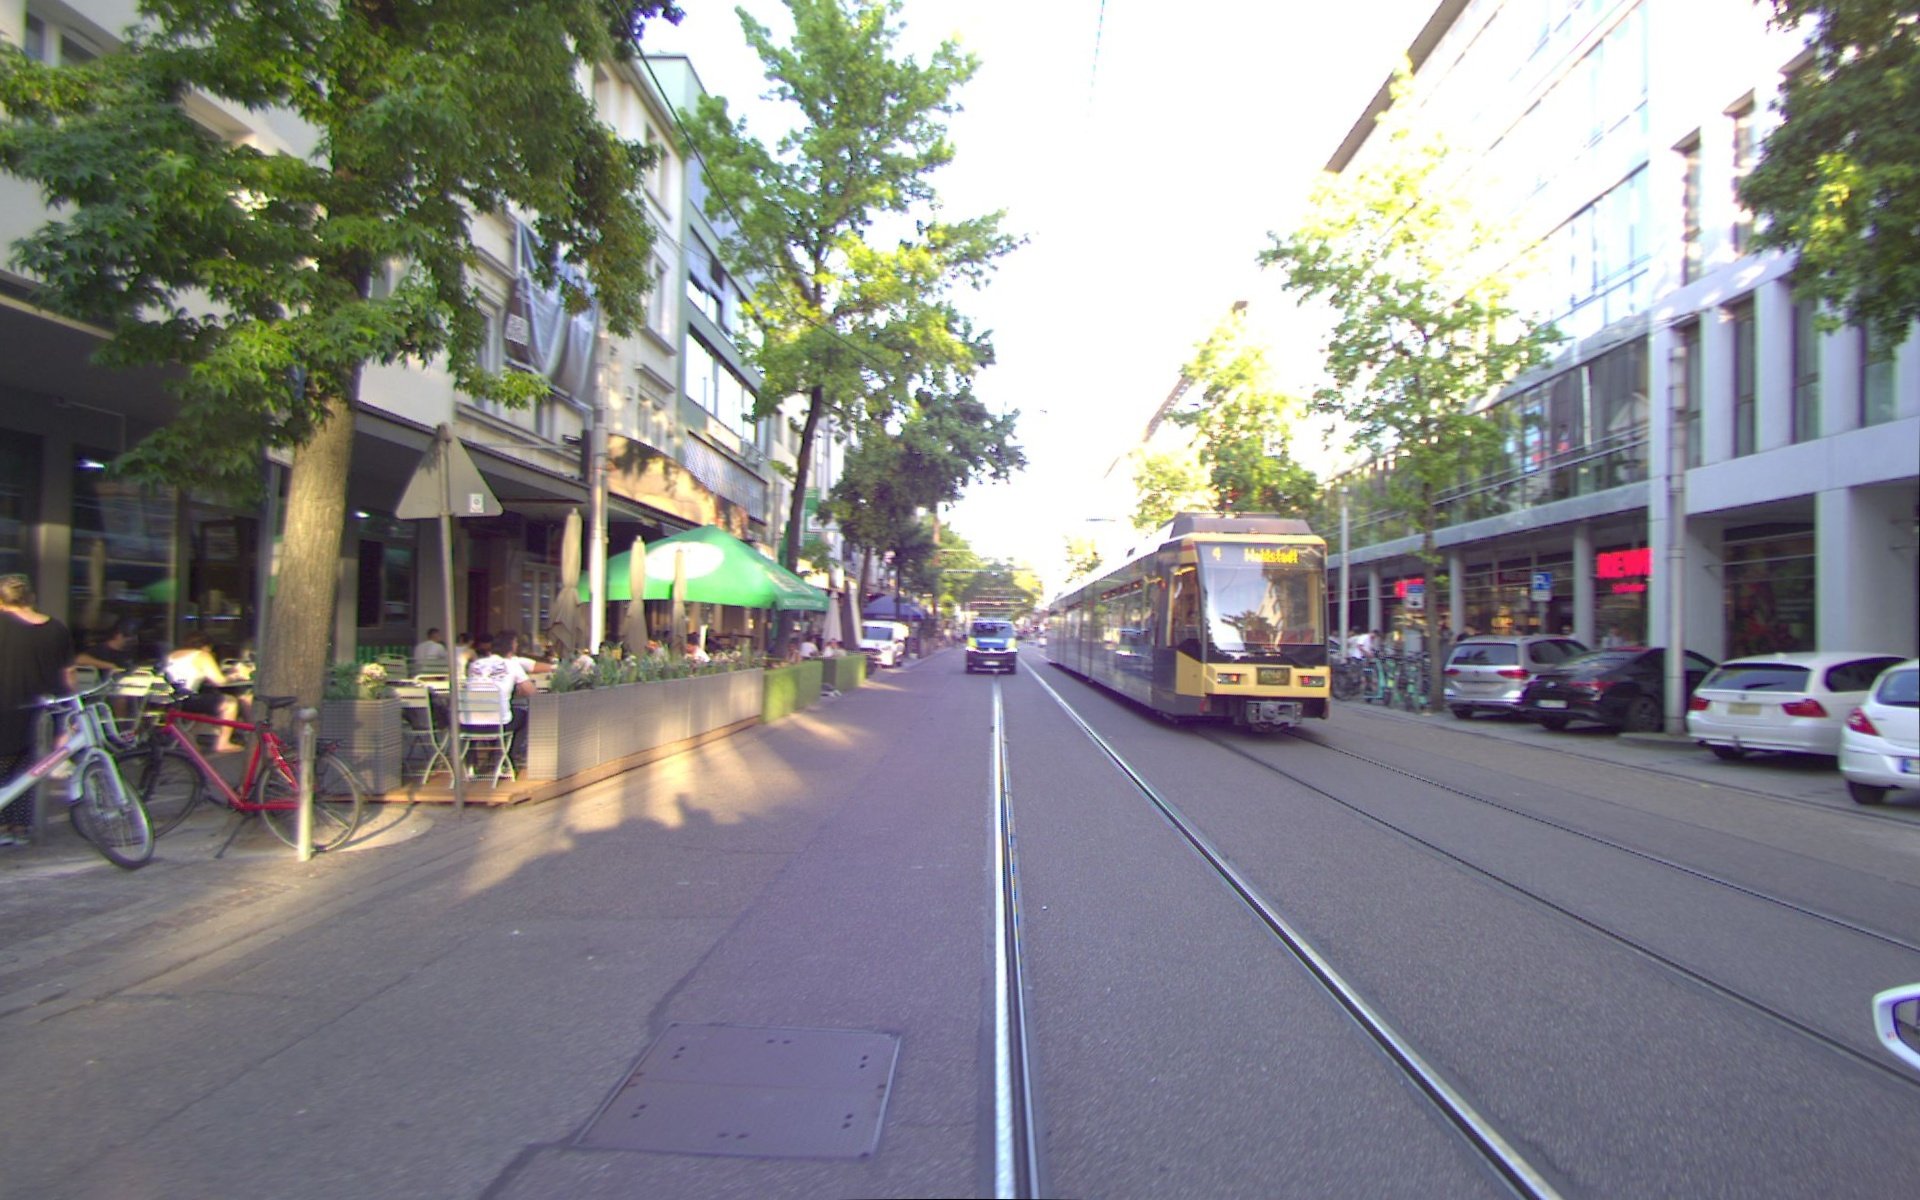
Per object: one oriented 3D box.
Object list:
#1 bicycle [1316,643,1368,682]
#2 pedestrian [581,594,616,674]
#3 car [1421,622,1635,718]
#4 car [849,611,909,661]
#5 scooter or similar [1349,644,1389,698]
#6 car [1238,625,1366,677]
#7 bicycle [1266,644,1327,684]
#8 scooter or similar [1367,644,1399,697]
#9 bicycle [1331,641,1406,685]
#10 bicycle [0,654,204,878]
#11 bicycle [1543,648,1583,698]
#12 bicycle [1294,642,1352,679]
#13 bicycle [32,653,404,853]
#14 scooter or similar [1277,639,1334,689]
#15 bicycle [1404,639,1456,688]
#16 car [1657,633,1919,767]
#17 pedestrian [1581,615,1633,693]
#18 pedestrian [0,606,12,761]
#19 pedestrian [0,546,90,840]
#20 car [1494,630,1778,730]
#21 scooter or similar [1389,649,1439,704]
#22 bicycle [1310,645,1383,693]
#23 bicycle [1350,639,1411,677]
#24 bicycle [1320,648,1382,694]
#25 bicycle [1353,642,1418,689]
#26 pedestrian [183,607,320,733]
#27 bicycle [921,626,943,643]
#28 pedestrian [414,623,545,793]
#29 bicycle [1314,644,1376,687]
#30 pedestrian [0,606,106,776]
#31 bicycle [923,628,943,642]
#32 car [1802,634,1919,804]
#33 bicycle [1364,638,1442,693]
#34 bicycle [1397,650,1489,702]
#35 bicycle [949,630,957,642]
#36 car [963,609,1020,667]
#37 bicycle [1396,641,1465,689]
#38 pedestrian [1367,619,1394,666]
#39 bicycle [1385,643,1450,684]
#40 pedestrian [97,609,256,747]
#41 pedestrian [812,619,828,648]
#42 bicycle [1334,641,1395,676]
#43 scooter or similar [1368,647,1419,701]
[{"bbox_3d":[11.756,1.915,30.903,1.577,1.047,0.549,-3,0,-29],"label":"bicycle"},{"bbox_3d":[-8.238,0.782,22.899,0.646,1.788,0.763,2,-2,-17],"label":"pedestrian"},{"bbox_3d":[11.613,1.337,20.449,4.627,1.661,1.937,0,-2,-34],"label":"car"},{"bbox_3d":[-3.240,1.499,41.109,1.764,1.842,4.518,3,-2,3],"label":"car"},{"bbox_3d":[9.867,1.695,24.243,0.474,1.238,1.215,-1,-2,2],"label":"scooter or similar"},{"bbox_3d":[11.861,1.742,34.824,4.294,1.583,1.862,-1,-2,-32],"label":"car"},{"bbox_3d":[10.074,1.911,30.093,1.729,1.132,0.800,0,-1,-31],"label":"bicycle"},{"bbox_3d":[10.313,1.706,24.518,0.558,1.221,1.282,-1,-1,16],"label":"scooter or similar"},{"bbox_3d":[11.611,1.776,28.573,1.968,1.164,0.696,-1,0,-17],"label":"bicycle"},{"bbox_3d":[-5.421,0.882,5.529,1.842,1.154,0.775,3,-2,-27],"label":"bicycle"},{"bbox_3d":[14.398,1.714,24.011,0.563,1.097,1.882,-1,-2,24],"label":"bicycle"},{"bbox_3d":[11.876,1.964,32.858,1.731,1.132,0.910,0,-2,-33],"label":"bicycle"},{"bbox_3d":[-4.656,0.944,6.391,1.830,1.154,0.627,2,-2,-1],"label":"bicycle"},{"bbox_3d":[9.689,1.787,28.218,0.690,1.321,1.379,0,-1,-37],"label":"scooter or similar"},{"bbox_3d":[12.715,1.701,27.156,1.679,1.205,0.549,-1,0,-37],"label":"bicycle"},{"bbox_3d":[11.730,1.234,13.441,4.284,1.441,1.821,-1,-1,-20],"label":"car"},{"bbox_3d":[15.342,1.268,23.838,0.668,1.795,0.805,1,0,1],"label":"pedestrian"},{"bbox_3d":[-8.614,0.701,8.332,0.611,1.337,0.842,1,-2,5],"label":"pedestrian"},{"bbox_3d":[-6.000,0.562,6.270,0.775,1.764,0.634,3,-3,-41],"label":"pedestrian"},{"bbox_3d":[11.749,1.329,17.485,4.284,1.441,1.947,-1,-2,-21],"label":"car"},{"bbox_3d":[10.207,1.701,22.567,0.572,1.165,1.392,-1,-1,45],"label":"scooter or similar"},{"bbox_3d":[10.164,1.789,26.378,1.969,1.145,0.675,-1,0,-29],"label":"bicycle"},{"bbox_3d":[13.271,1.821,31.688,1.769,1.132,0.838,0,-1,-28],"label":"bicycle"},{"bbox_3d":[10.120,1.827,25.967,1.727,1.090,0.490,-1,-1,-29],"label":"bicycle"},{"bbox_3d":[11.302,1.723,26.683,1.660,1.154,0.476,-1,0,-19],"label":"bicycle"},{"bbox_3d":[-7.945,0.774,11.306,0.833,1.337,0.882,1,-2,6],"label":"pedestrian"},{"bbox_3d":[-2.445,3.013,87.887,1.771,1.377,0.659,4,-2,-11],"label":"bicycle"},{"bbox_3d":[-4.174,0.912,8.781,0.681,1.395,0.793,1,-2,4],"label":"pedestrian"},{"bbox_3d":[10.748,1.819,28.047,1.812,1.090,0.619,-2,0,-31],"label":"bicycle"},{"bbox_3d":[-7.950,0.728,8.353,0.870,1.337,0.882,1,-2,5],"label":"pedestrian"},{"bbox_3d":[-2.471,3.236,92.067,1.705,1.140,0.563,4,-2,-2],"label":"bicycle"},{"bbox_3d":[10.662,1.106,10.228,4.016,1.521,1.784,-1,-2,-28],"label":"car"},{"bbox_3d":[11.191,1.640,25.379,1.803,1.291,0.679,-1,0,-17],"label":"bicycle"},{"bbox_3d":[11.183,1.731,23.306,0.624,1.090,1.862,-1,-1,-34],"label":"bicycle"},{"bbox_3d":[-0.688,3.506,98.063,0.602,1.140,2.251,4,-2,-4],"label":"bicycle"},{"bbox_3d":[1.125,1.402,37.615,1.960,2.002,4.851,1,-2,1],"label":"car"},{"bbox_3d":[12.207,1.670,26.079,1.667,1.165,0.500,-1,0,-14],"label":"bicycle"},{"bbox_3d":[15.813,1.572,37.804,0.668,1.722,0.805,1,0,1],"label":"pedestrian"},{"bbox_3d":[13.198,1.805,28.973,1.811,1.109,0.818,1,-1,-30],"label":"bicycle"},{"bbox_3d":[-8.037,0.784,10.349,0.870,1.337,0.882,1,-2,5],"label":"pedestrian"},{"bbox_3d":[-7.242,1.737,52.039,0.599,1.452,0.512,4,-2,4],"label":"pedestrian"},{"bbox_3d":[13.516,1.937,33.585,1.724,1.132,0.931,0,-2,-23],"label":"bicycle"},{"bbox_3d":[10.110,1.707,23.399,1.320,1.197,0.494,1,-1,-36],"label":"scooter or similar"}]
